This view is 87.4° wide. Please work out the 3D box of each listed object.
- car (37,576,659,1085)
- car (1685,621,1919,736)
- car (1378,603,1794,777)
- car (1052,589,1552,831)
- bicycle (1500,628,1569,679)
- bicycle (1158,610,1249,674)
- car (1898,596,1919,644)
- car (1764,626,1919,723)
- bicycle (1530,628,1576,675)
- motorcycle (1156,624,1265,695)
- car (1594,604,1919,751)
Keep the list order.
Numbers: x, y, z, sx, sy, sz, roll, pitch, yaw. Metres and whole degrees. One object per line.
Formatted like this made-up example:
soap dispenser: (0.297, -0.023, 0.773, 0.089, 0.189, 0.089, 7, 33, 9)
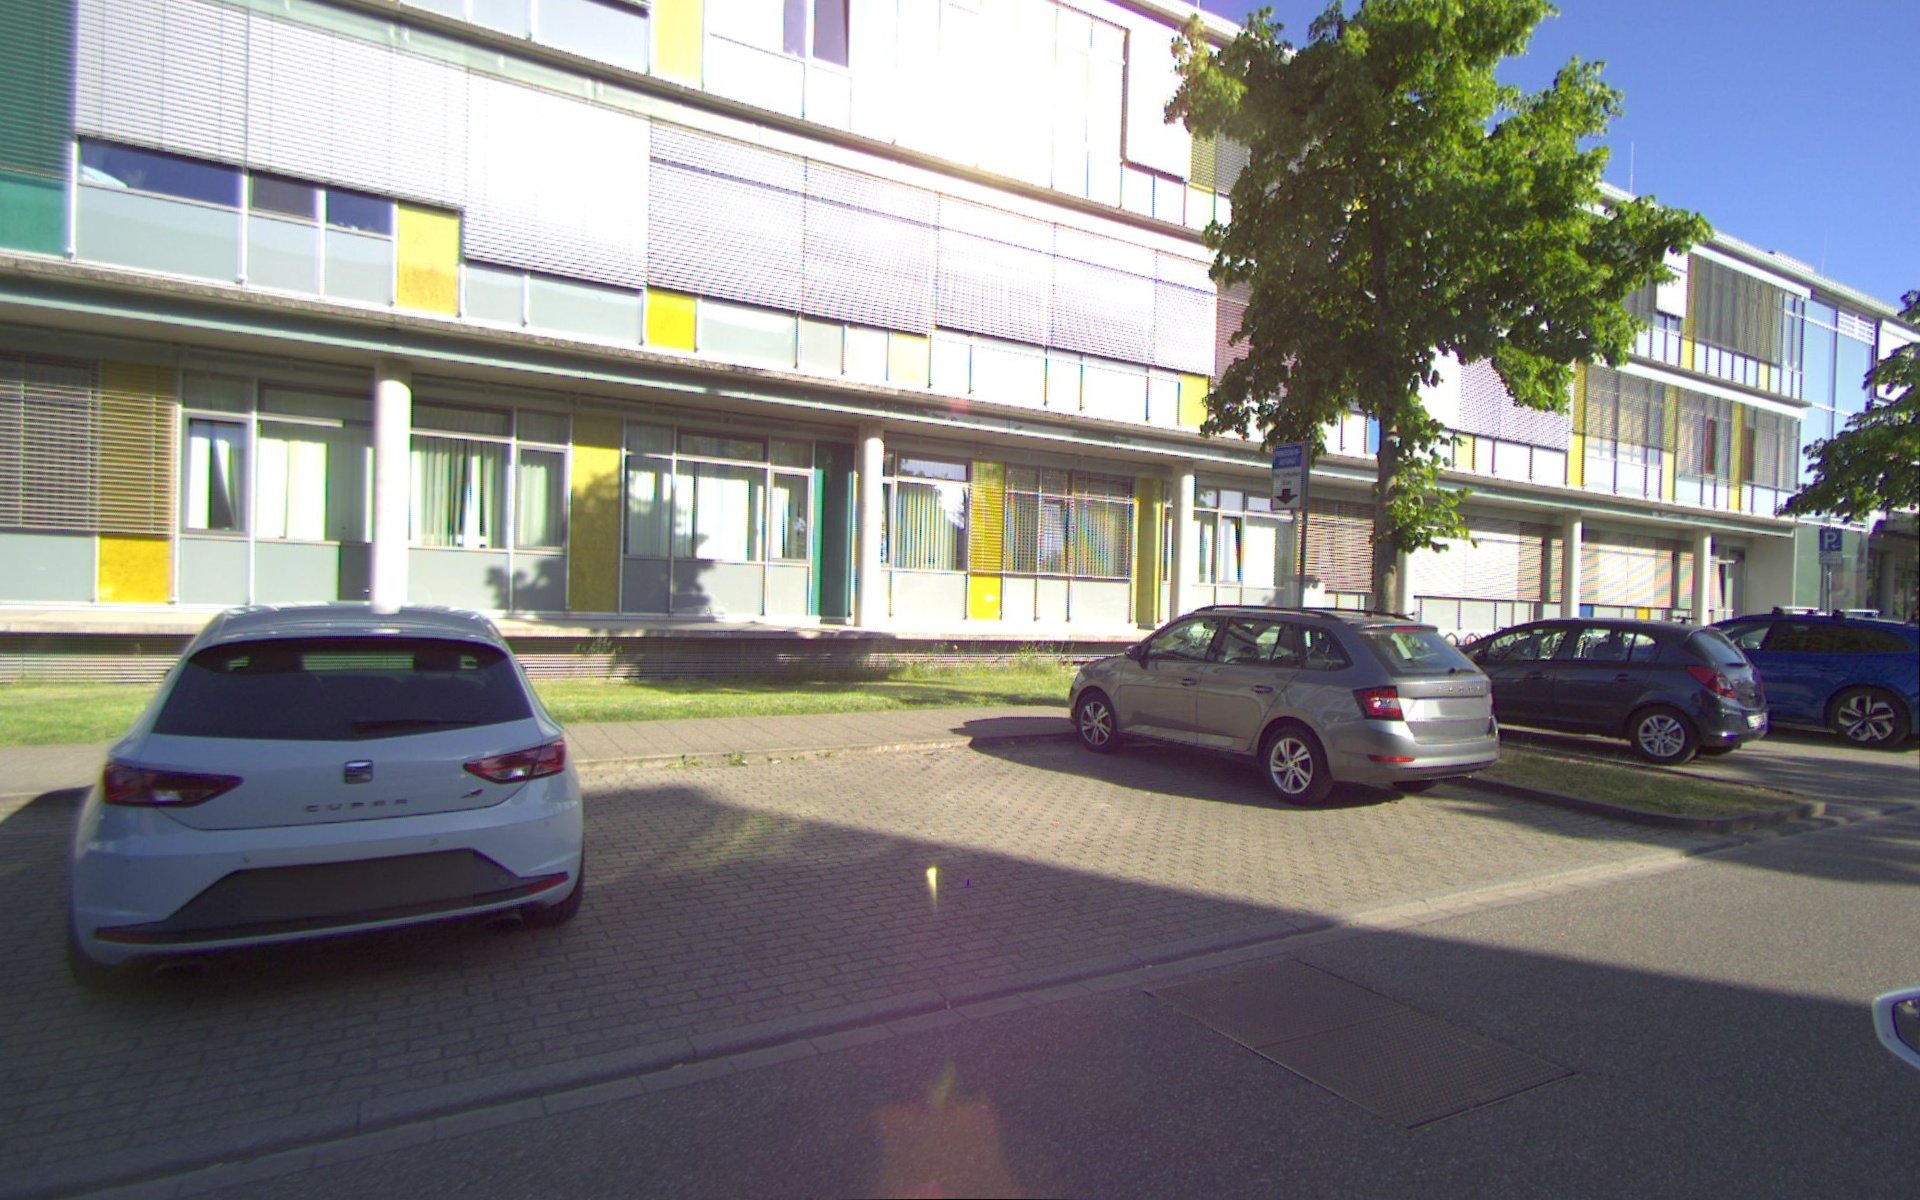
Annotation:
car: (-3.009, 0.687, 5.239, 1.803, 1.442, 4.070, 2, 1, -31)
car: (13.463, 1.140, 14.960, 1.712, 1.457, 3.966, 1, 1, -31)
car: (7.146, 0.910, 11.785, 1.763, 1.508, 3.712, 2, 2, -37)
car: (2.734, 0.757, 8.957, 1.803, 1.508, 3.960, 2, 1, -31)
bicycle: (12.165, 1.116, 21.253, 1.759, 1.029, 0.445, 1, -1, -31)
bicycle: (4.885, 0.829, 20.089, 1.834, 1.215, 0.643, 1, -1, -31)
car: (40.344, 0.836, 40.882, 4.655, 1.916, 1.910, 1, 0, -30)
car: (15.717, 1.186, 16.085, 1.733, 1.486, 4.111, 1, -1, -30)
bicycle: (13.365, 1.157, 22.620, 1.383, 1.036, 0.350, 1, -1, -35)
motorcycle: (3.824, 0.886, 15.424, 0.616, 0.957, 1.562, 2, 1, -36)
car: (11.485, 0.962, 13.862, 1.938, 1.673, 4.198, 1, 0, -31)
